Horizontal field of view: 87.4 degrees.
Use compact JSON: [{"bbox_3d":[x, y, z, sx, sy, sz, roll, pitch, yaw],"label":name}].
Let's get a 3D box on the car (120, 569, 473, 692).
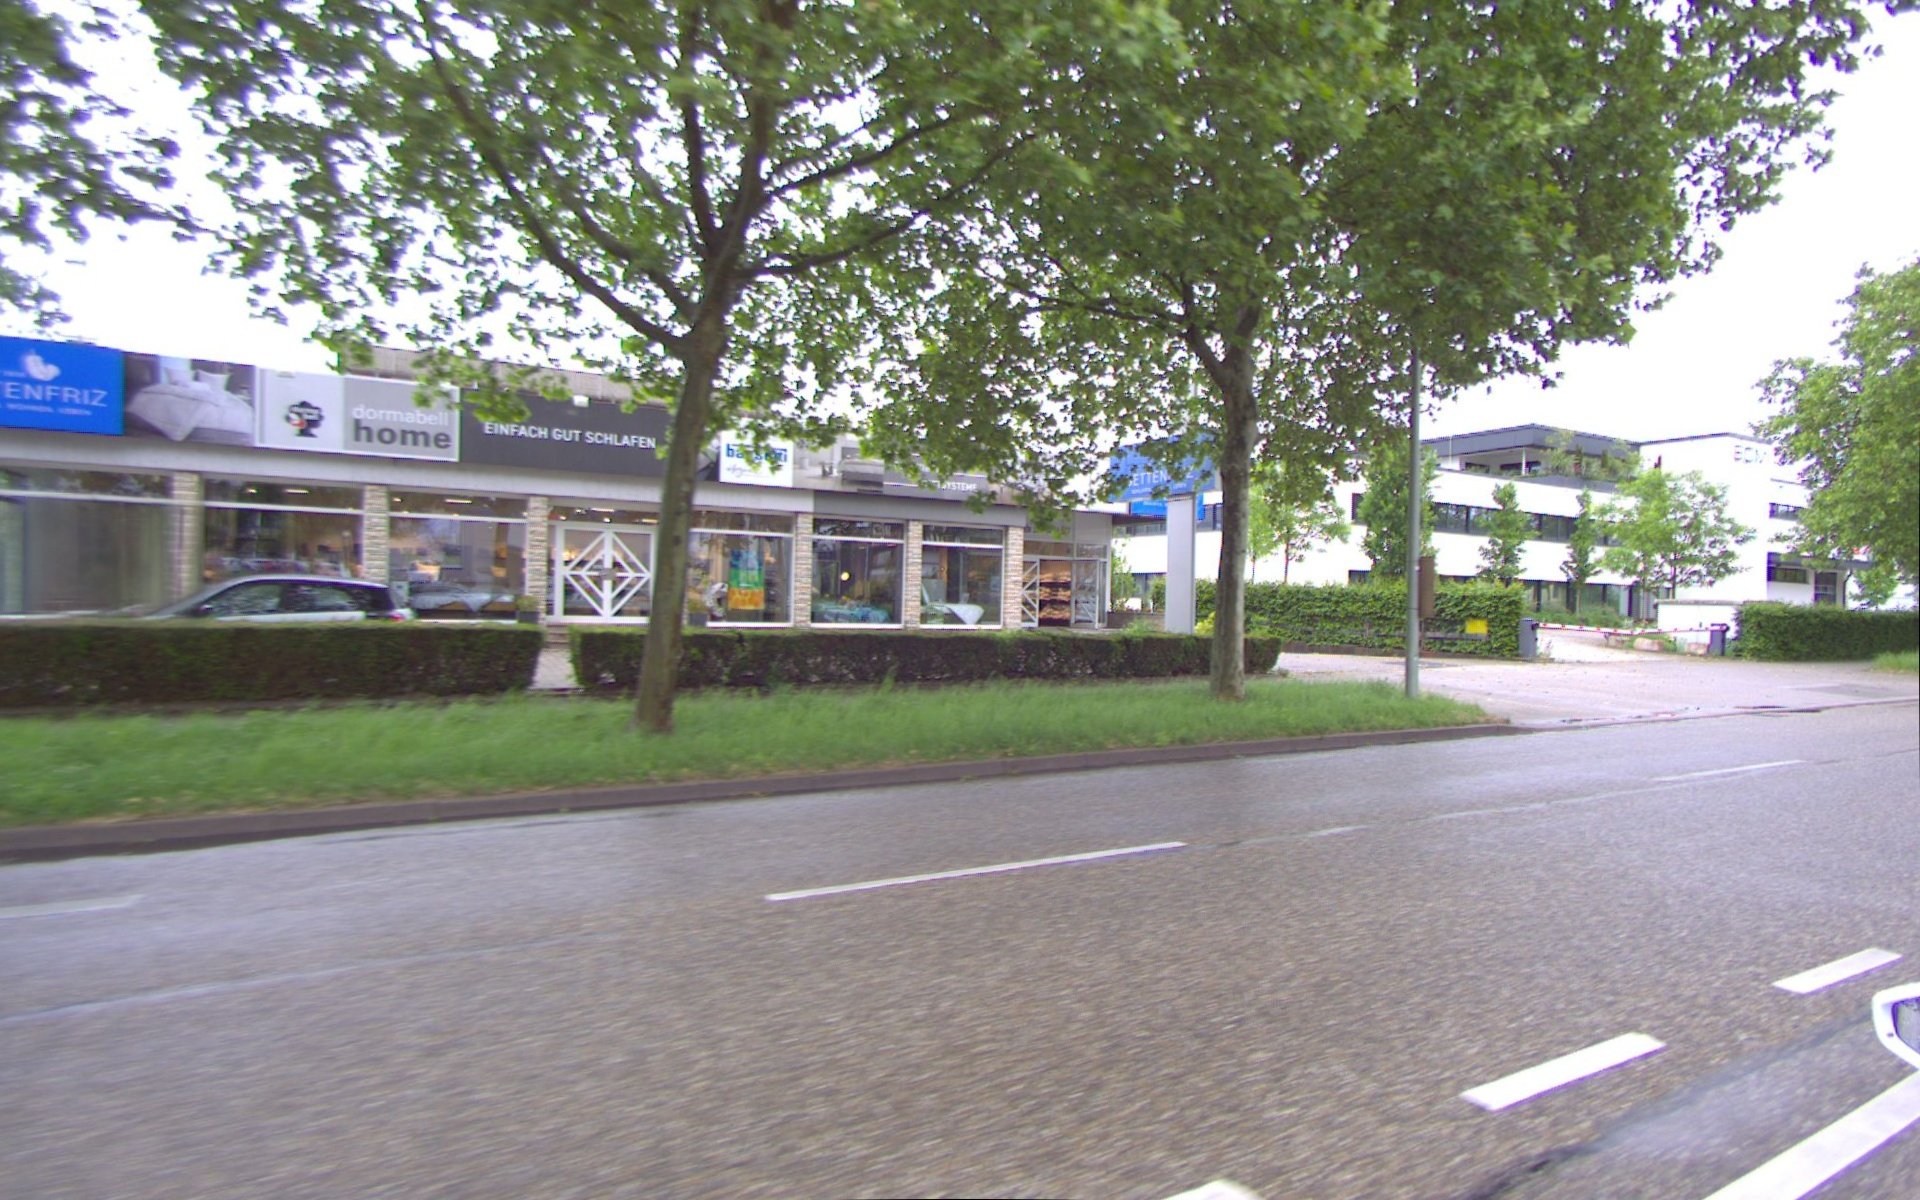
[{"bbox_3d":[-9.085,0.414,14.117,3.894,1.506,1.814,1,-1,-31],"label":"car"}]
